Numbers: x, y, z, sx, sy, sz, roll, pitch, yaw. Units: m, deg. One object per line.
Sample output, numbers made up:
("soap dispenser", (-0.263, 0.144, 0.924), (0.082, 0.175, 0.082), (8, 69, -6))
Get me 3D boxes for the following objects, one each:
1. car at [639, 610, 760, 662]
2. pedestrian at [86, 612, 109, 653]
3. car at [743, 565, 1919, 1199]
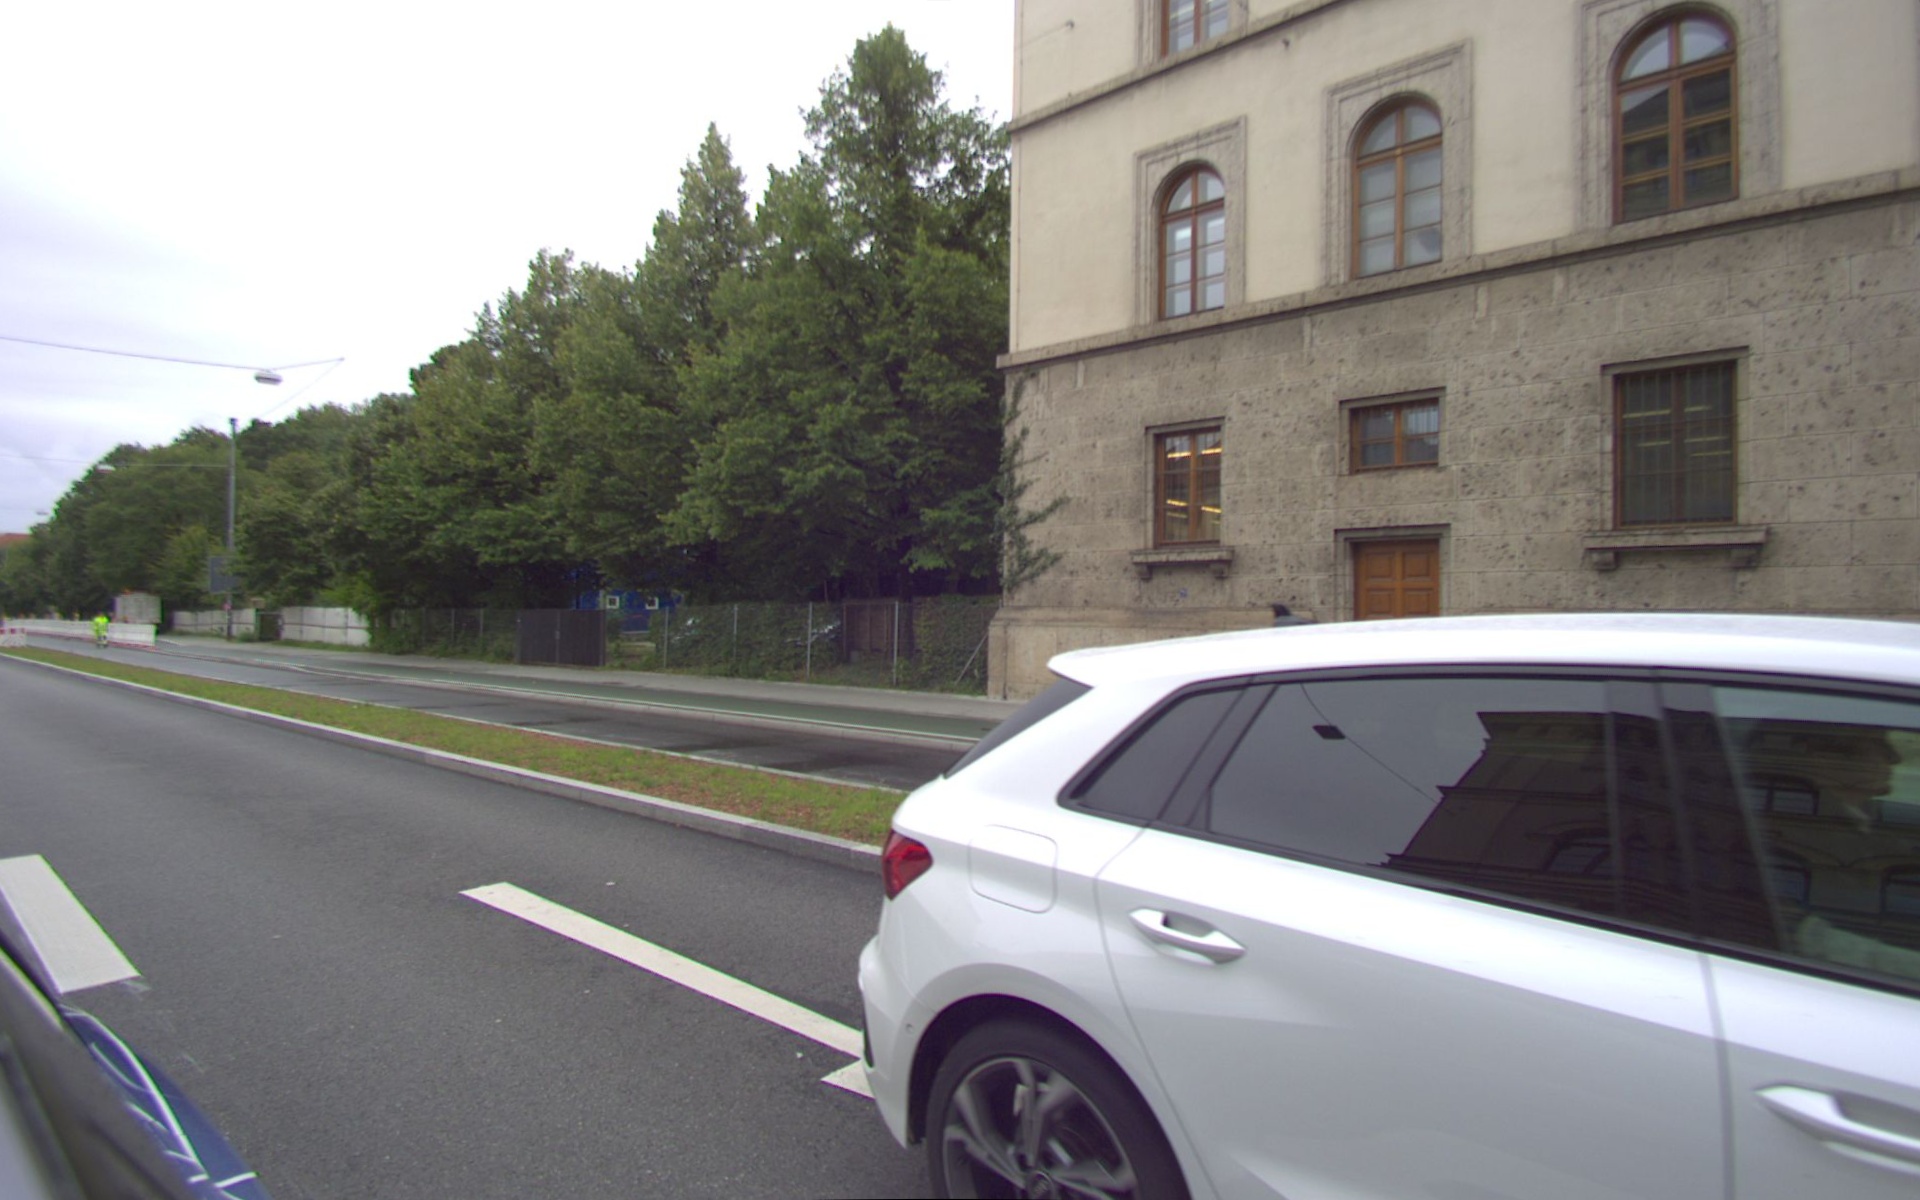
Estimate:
("car", (-9.724, 1.302, 37.910), (1.877, 1.722, 3.981), (2, 1, 45))
("pedestrian", (-43.328, 1.601, 50.830), (0.867, 2.029, 0.747), (-1, -1, 41))
("car", (1.766, 0.672, 1.607), (4.449, 1.435, 1.795), (-1, 0, 40))
